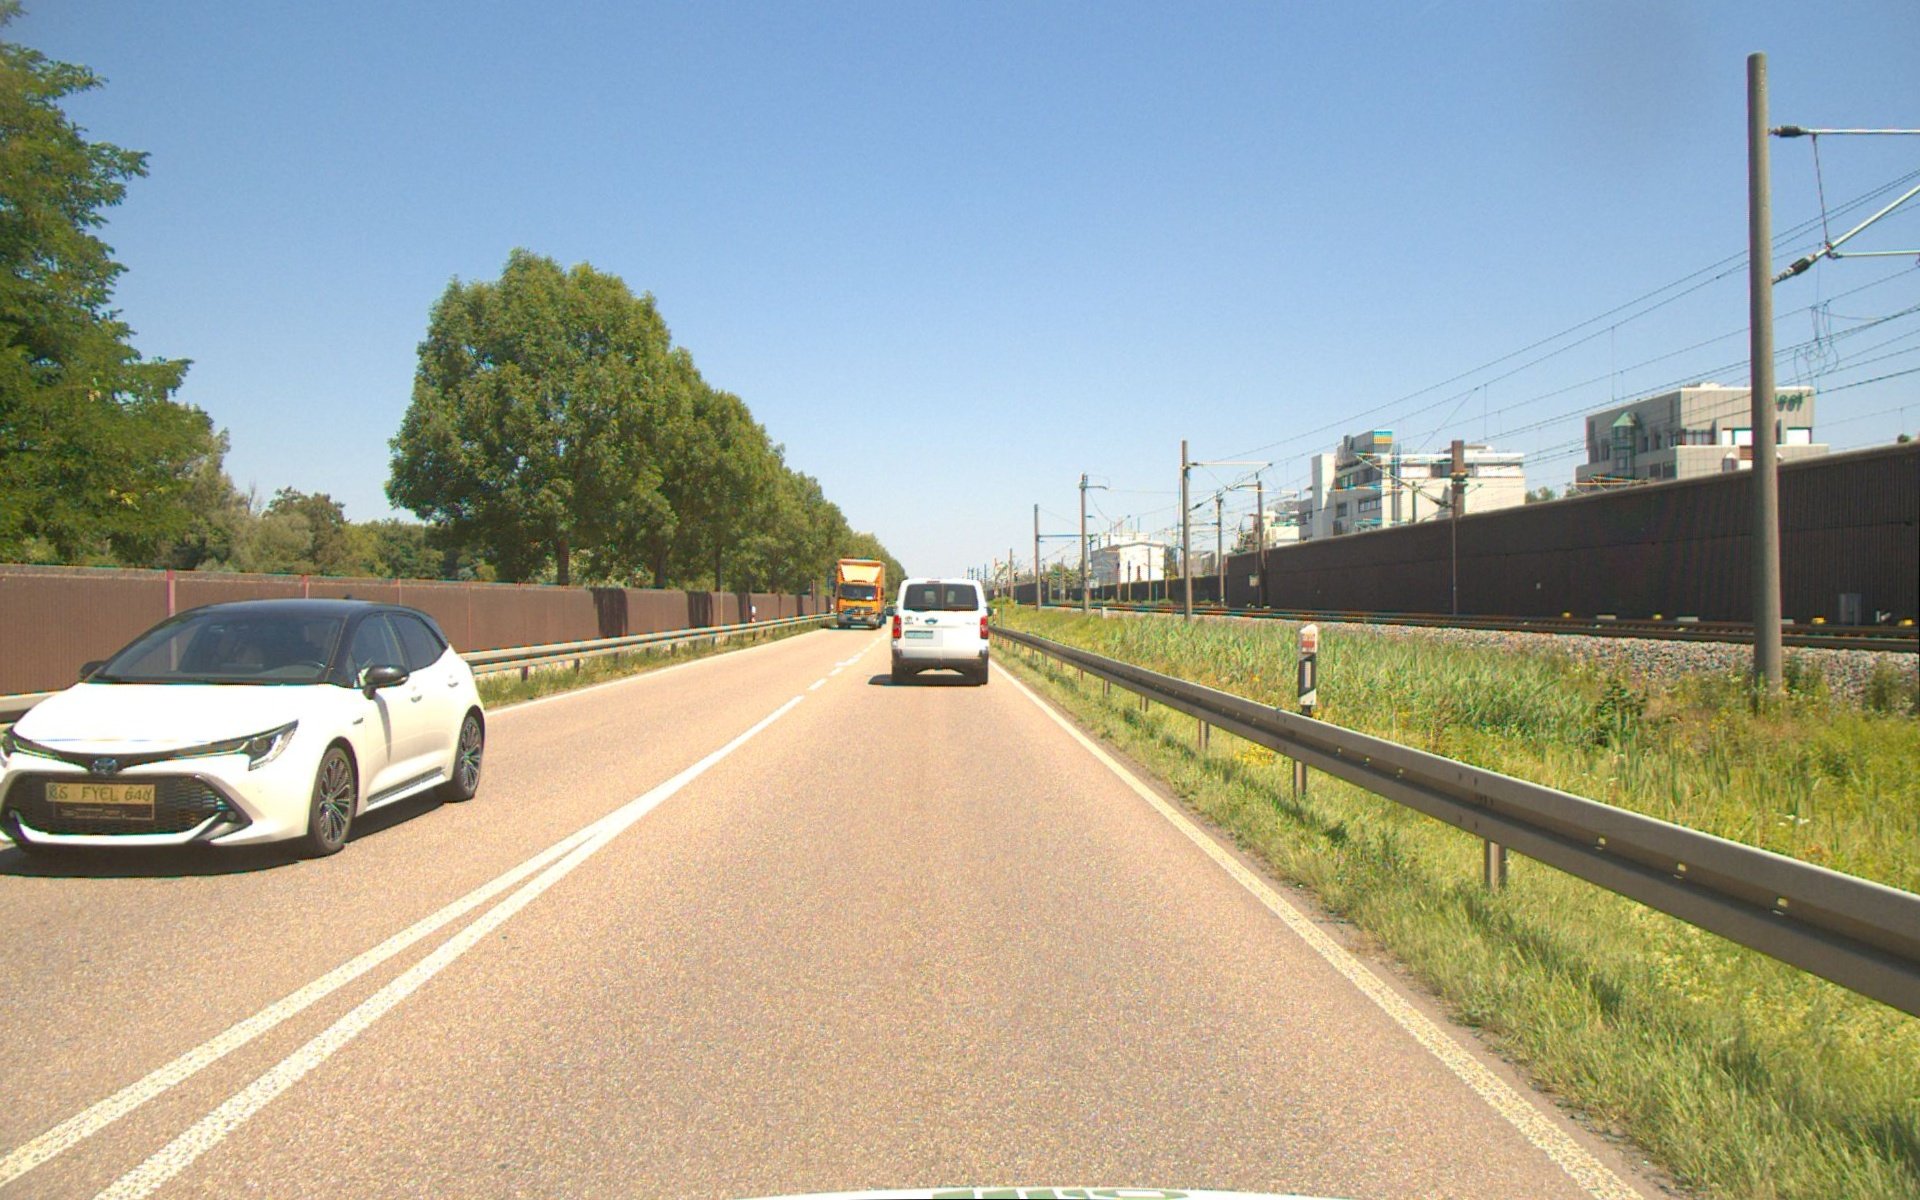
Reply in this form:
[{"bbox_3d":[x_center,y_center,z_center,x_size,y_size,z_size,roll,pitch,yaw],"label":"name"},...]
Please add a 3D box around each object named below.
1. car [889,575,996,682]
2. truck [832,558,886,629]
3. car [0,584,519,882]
[{"bbox_3d":[-0.359,0.538,32.165,1.906,1.914,4.879,0,0,-1],"label":"car"},{"bbox_3d":[-5.823,-0.337,96.815,2.735,3.907,9.321,0,0,-1],"label":"truck"},{"bbox_3d":[-4.324,0.676,10.678,1.651,1.485,4.616,1,0,0],"label":"car"}]
